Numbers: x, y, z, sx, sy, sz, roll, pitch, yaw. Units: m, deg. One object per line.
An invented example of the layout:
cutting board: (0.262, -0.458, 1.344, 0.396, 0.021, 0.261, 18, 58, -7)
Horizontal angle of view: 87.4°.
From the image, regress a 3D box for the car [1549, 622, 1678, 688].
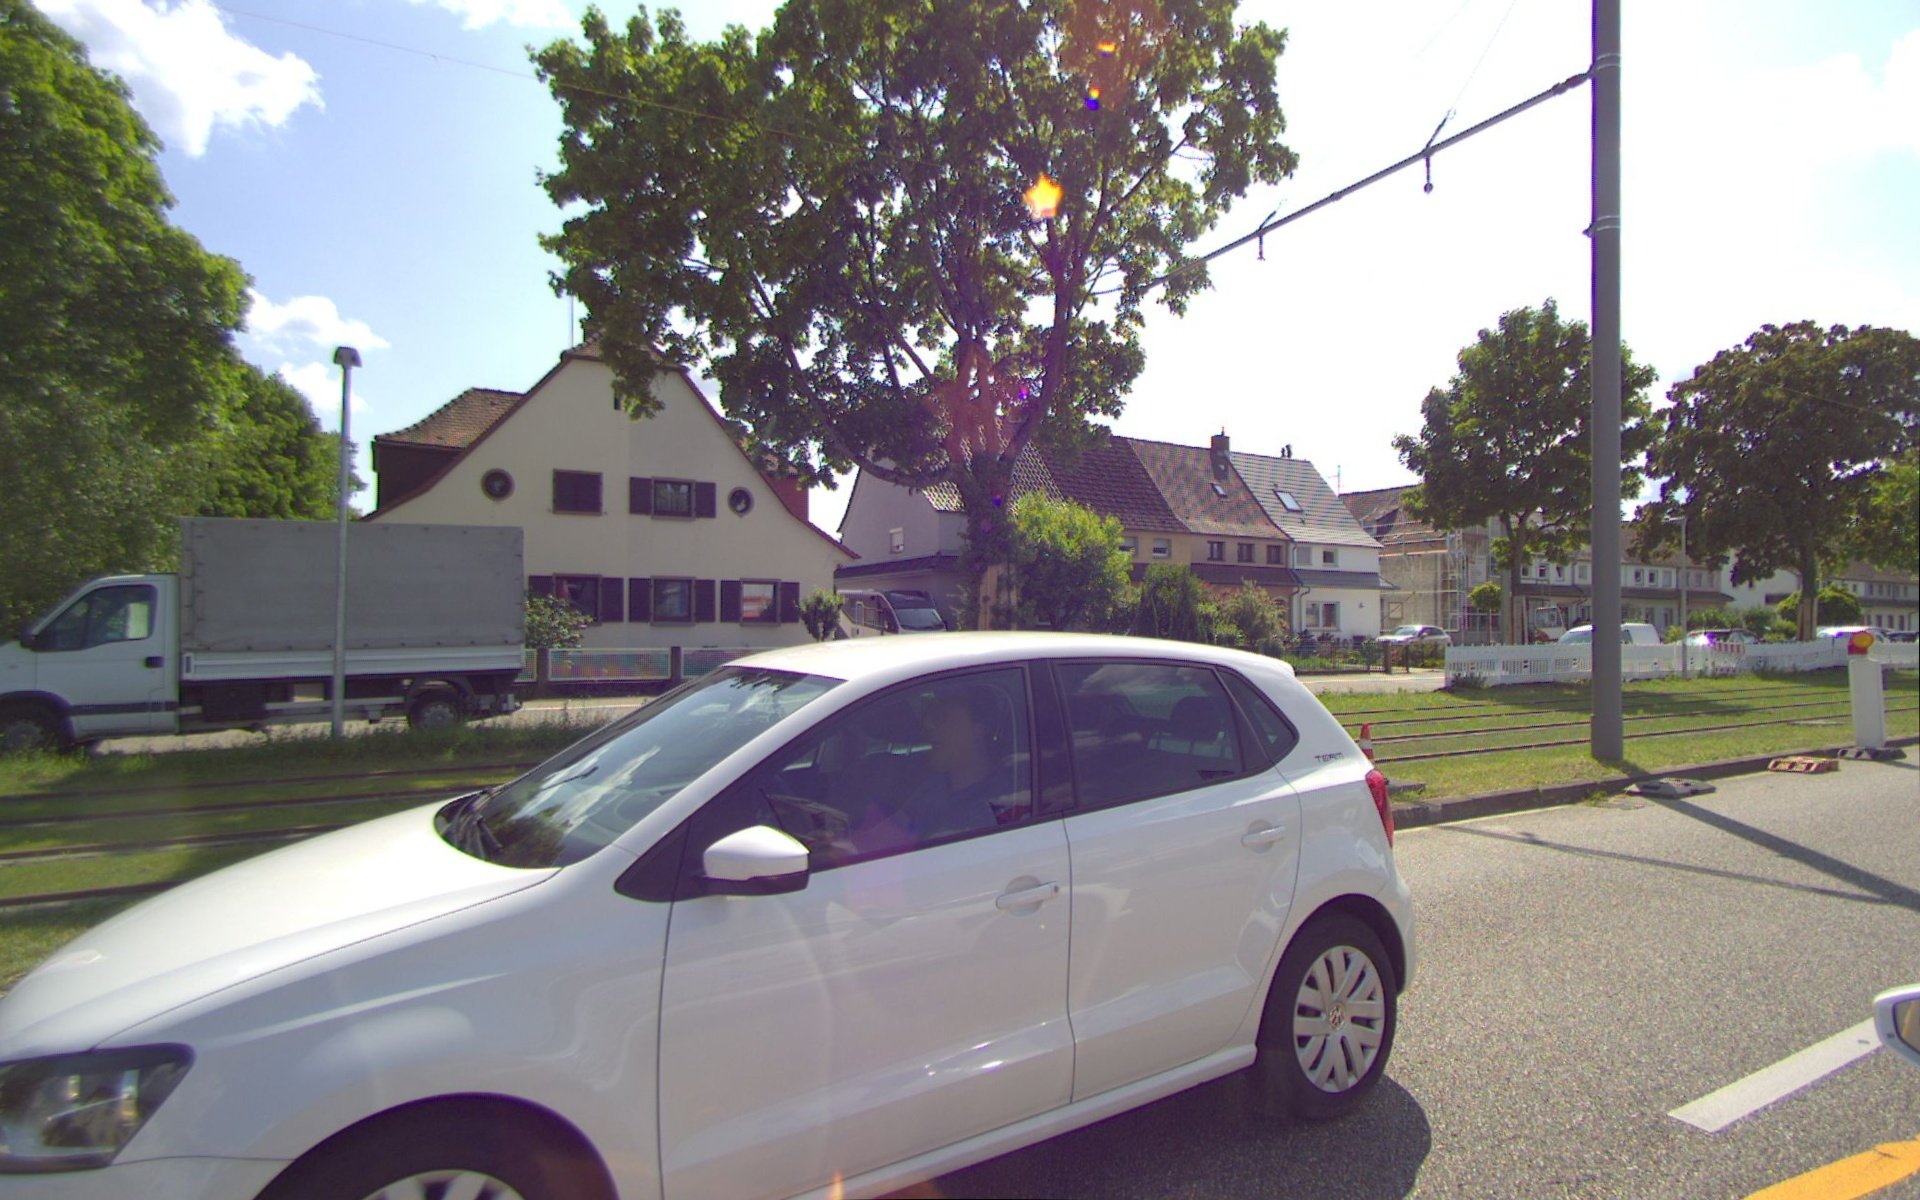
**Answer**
car: (19.503, 1.604, 29.961, 3.814, 1.841, 1.691, 1, -2, -30)

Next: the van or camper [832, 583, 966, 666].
van or camper: (-2.348, 0.909, 36.653, 2.224, 2.745, 5.963, 1, -2, -33)

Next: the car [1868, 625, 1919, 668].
car: (40.392, 1.957, 42.599, 3.814, 1.762, 1.691, 1, -2, -30)

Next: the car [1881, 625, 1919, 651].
car: (66.758, 2.675, 70.728, 4.013, 1.762, 1.691, 1, -2, -30)

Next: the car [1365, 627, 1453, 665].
car: (19.892, 1.992, 44.480, 3.814, 1.614, 1.691, 1, -2, -30)

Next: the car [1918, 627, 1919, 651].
car: (72.141, 2.839, 73.664, 4.013, 1.762, 1.691, 1, -2, -30)

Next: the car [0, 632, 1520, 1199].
car: (-0.365, 0.815, 3.033, 4.212, 1.432, 1.707, 1, -2, -30)

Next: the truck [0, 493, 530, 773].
truck: (-8.797, 0.417, 12.937, 5.805, 3.027, 1.994, 1, -2, -30)

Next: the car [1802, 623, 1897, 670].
car: (34.948, 1.801, 39.449, 3.814, 1.762, 1.691, 1, -2, -30)

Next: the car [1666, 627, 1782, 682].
car: (25.749, 1.798, 33.827, 4.006, 1.762, 1.691, 1, -2, -30)
